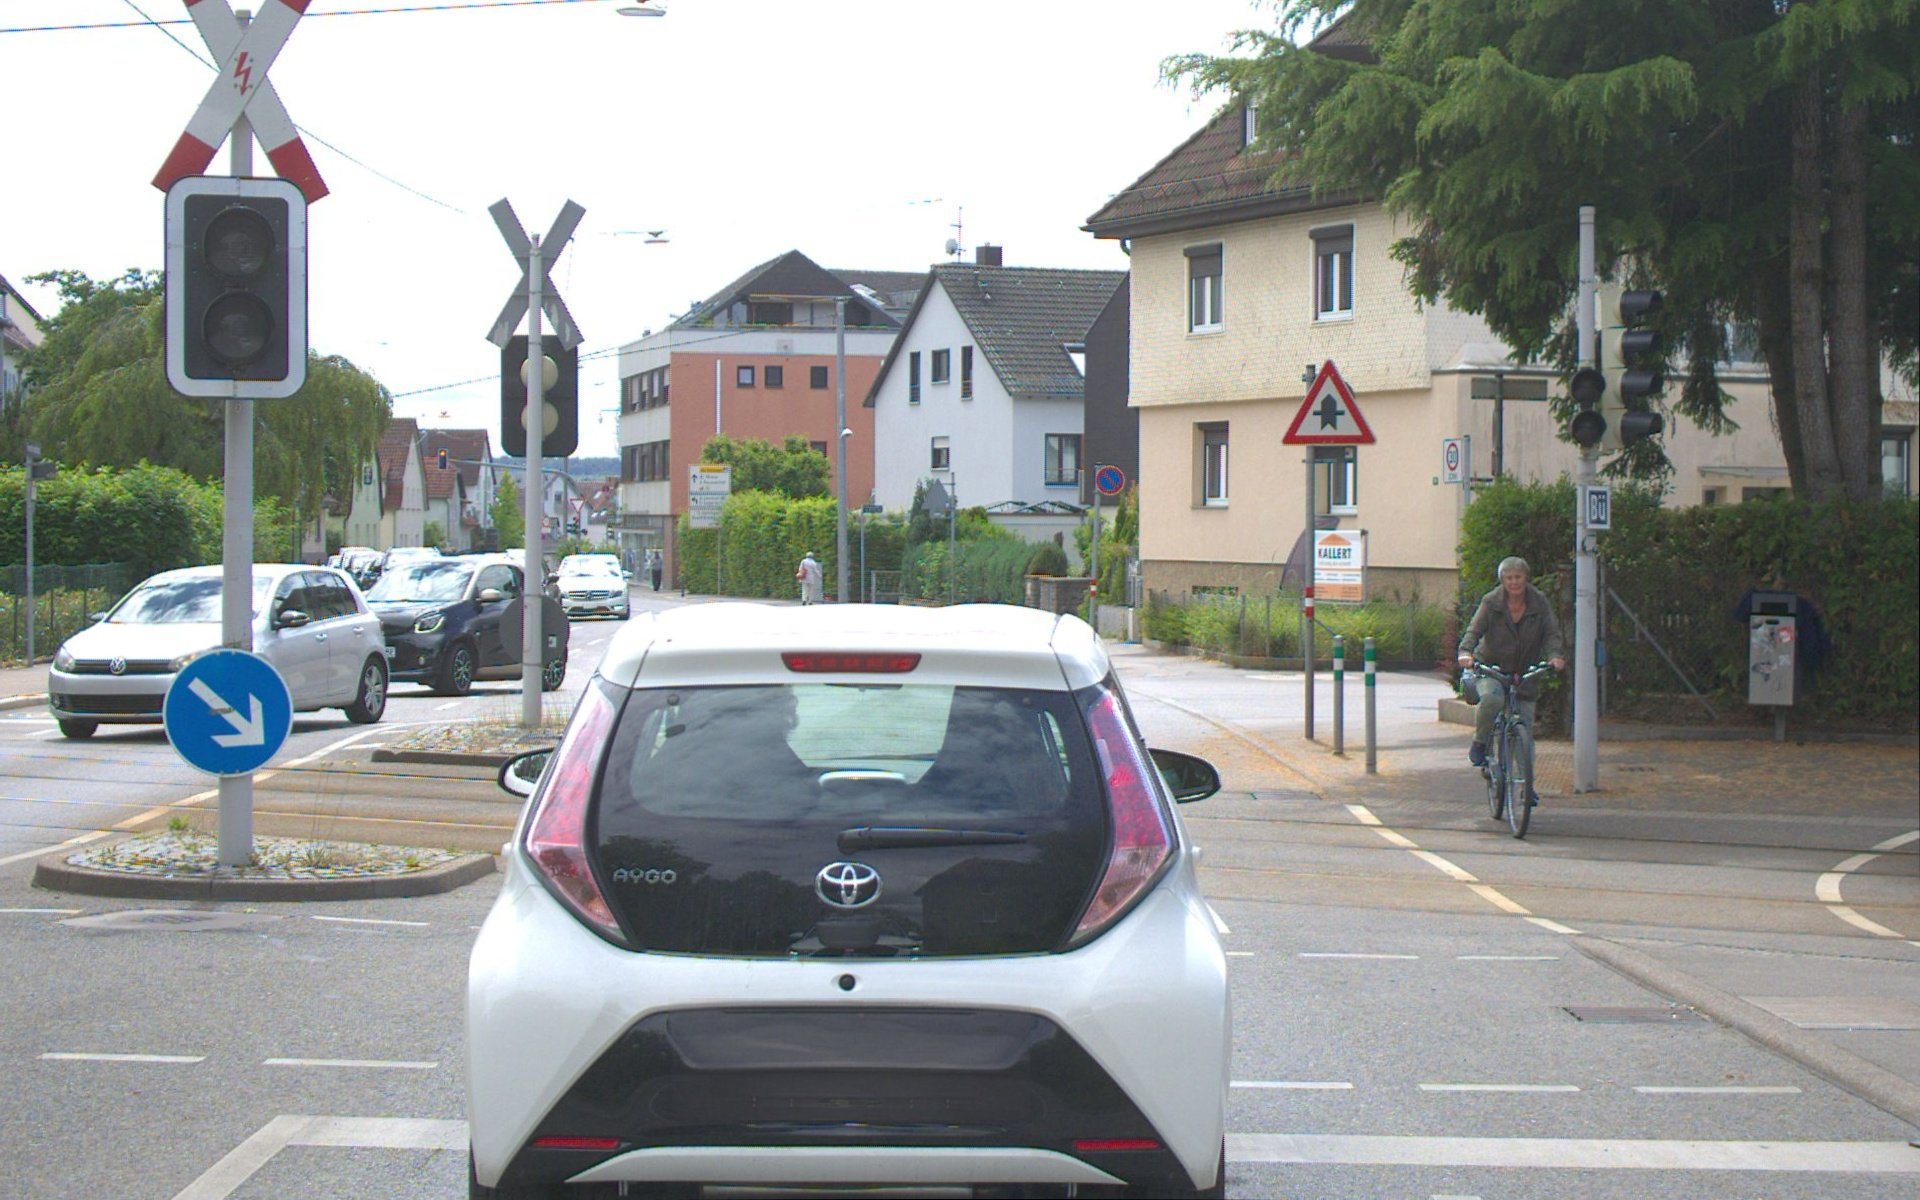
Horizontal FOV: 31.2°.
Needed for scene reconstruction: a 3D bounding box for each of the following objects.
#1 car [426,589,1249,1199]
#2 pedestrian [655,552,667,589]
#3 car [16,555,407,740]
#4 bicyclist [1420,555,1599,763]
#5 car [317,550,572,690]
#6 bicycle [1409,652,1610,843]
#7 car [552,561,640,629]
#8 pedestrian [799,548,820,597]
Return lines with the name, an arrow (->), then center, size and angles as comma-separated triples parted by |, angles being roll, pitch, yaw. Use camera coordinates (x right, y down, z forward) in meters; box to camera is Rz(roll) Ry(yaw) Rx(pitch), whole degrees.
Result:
car -> -0.261, 0.719, 8.790 | 1.621, 1.481, 4.000 | 0, 0, -1
pedestrian -> -11.720, -1.143, 134.735 | 0.413, 1.433, 0.438 | 1, 1, -10
car -> -6.438, 0.353, 30.029 | 1.689, 1.453, 4.067 | 0, 1, 14
bicyclist -> 3.472, 0.357, 21.826 | 0.932, 1.243, 1.102 | 0, 3, -1
car -> -5.753, 0.212, 38.597 | 1.577, 1.505, 2.784 | 1, 0, 24
bicycle -> 3.471, 0.916, 21.905 | 0.932, 1.036, 1.915 | 0, 3, -1
car -> -8.689, -0.140, 81.808 | 1.774, 1.556, 4.170 | 1, 1, -10
pedestrian -> -4.486, -0.825, 102.424 | 0.436, 1.433, 0.414 | 1, 1, -32
